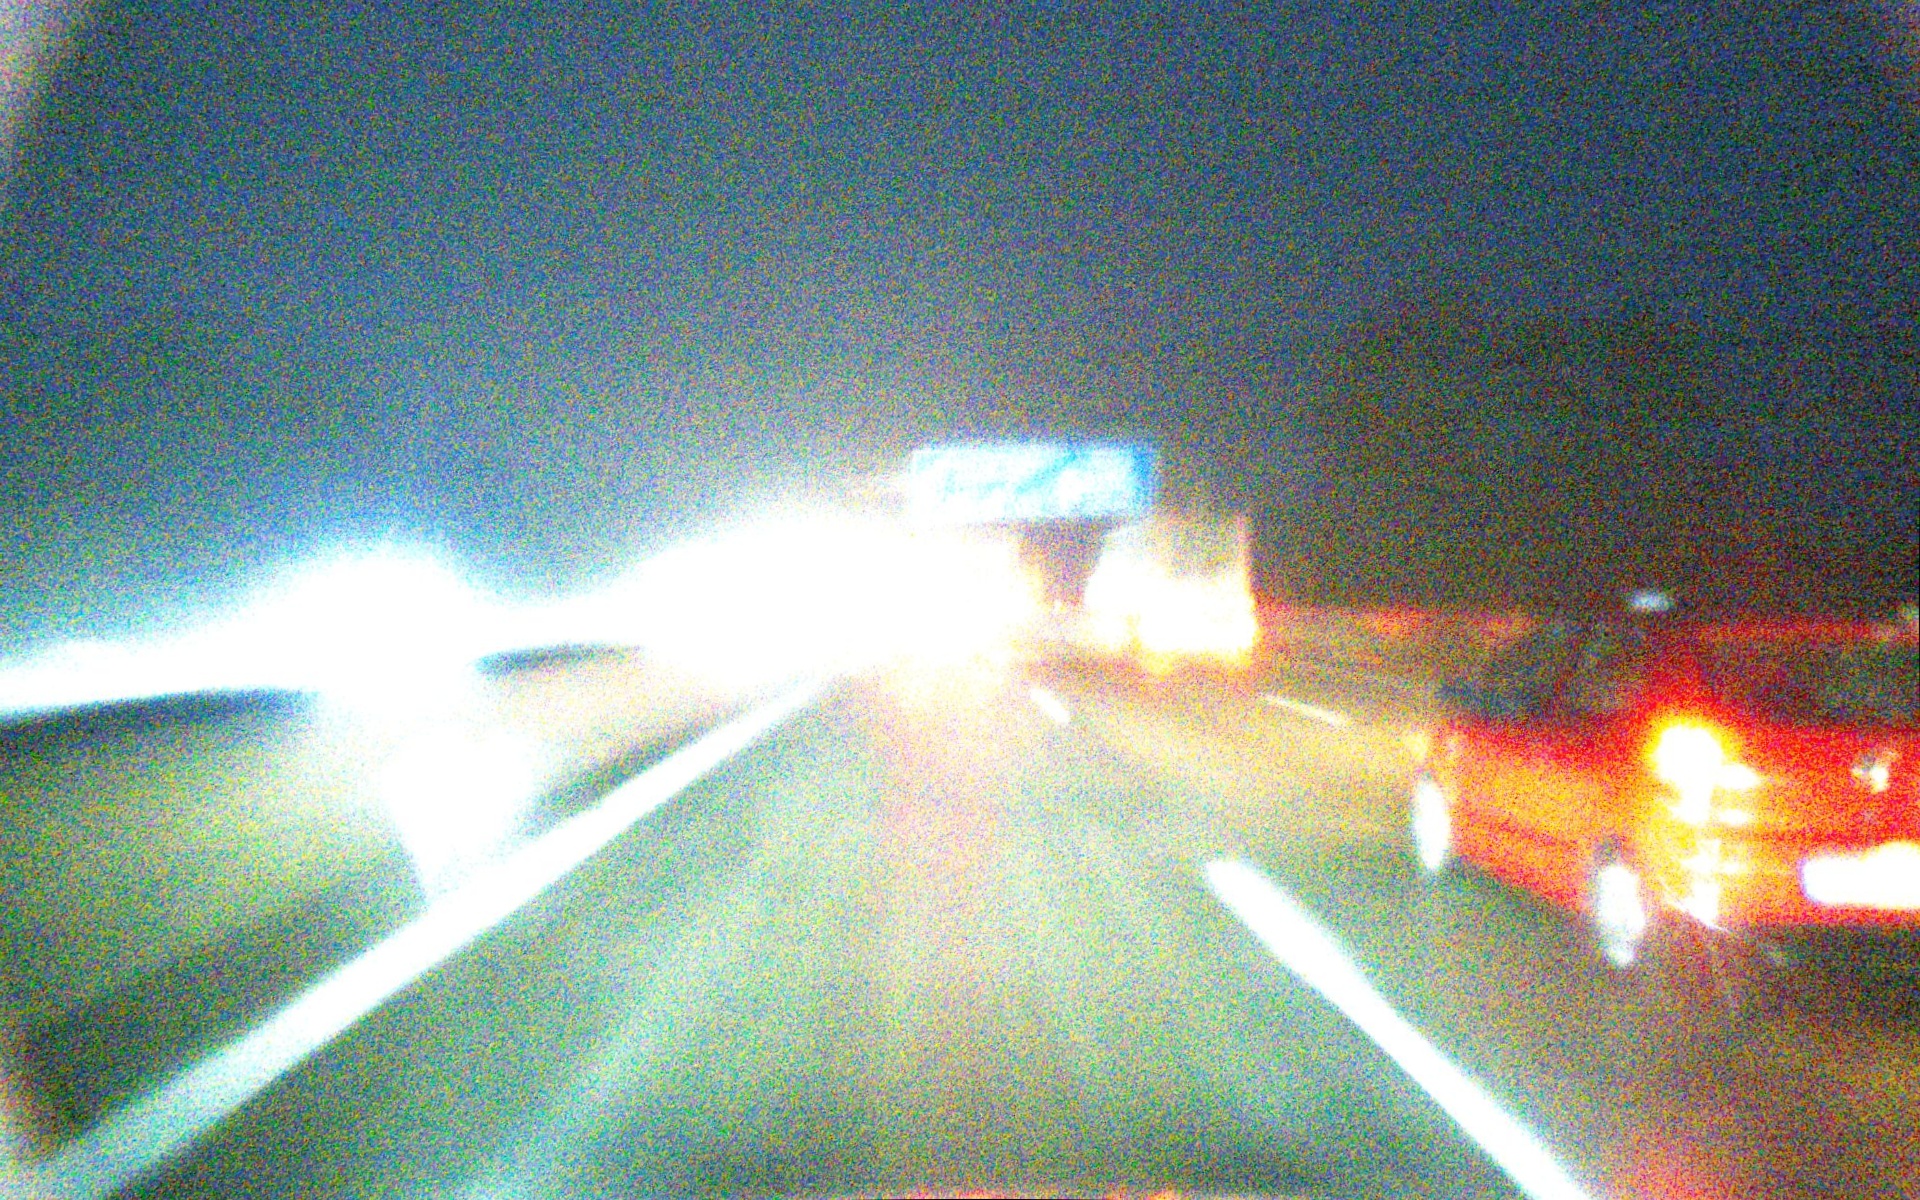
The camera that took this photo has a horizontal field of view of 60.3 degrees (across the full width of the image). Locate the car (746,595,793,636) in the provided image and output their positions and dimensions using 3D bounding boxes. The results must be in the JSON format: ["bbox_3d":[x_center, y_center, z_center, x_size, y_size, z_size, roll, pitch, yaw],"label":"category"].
[{"bbox_3d":[-9.771,0.772,85.007,1.953,2.049,4.450,-1,0,-1],"label":"car"}]

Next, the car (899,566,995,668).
[{"bbox_3d":[-0.294,0.385,35.490,1.953,2.049,3.999,0,-1,-1],"label":"car"}]

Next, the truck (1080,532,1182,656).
[{"bbox_3d":[6.097,-0.184,59.772,2.844,4.180,6.029,-2,0,-1],"label":"truck"}]

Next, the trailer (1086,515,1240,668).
[{"bbox_3d":[6.210,-0.216,53.329,2.844,4.180,14.483,-2,0,-1],"label":"trailer"}]

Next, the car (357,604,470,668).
[{"bbox_3d":[-16.637,1.066,50.586,1.953,1.790,4.590,-1,0,-1],"label":"car"}]

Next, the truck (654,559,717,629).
[{"bbox_3d":[-18.160,-0.383,109.776,2.913,4.342,6.503,4,0,-1],"label":"truck"}]

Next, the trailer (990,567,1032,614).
[{"bbox_3d":[4.895,-0.873,162.203,2.980,4.180,13.820,-2,-1,-2],"label":"trailer"}]

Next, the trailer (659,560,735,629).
[{"bbox_3d":[-18.293,-0.358,116.218,2.913,4.342,14.859,4,0,-1],"label":"trailer"}]

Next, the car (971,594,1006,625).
[{"bbox_3d":[1.938,0.662,114.145,1.954,2.049,3.996,-2,-1,-4],"label":"car"}]

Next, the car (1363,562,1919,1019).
[{"bbox_3d":[3.423,0.691,8.090,1.705,1.603,4.492,0,-1,-1],"label":"car"}]
